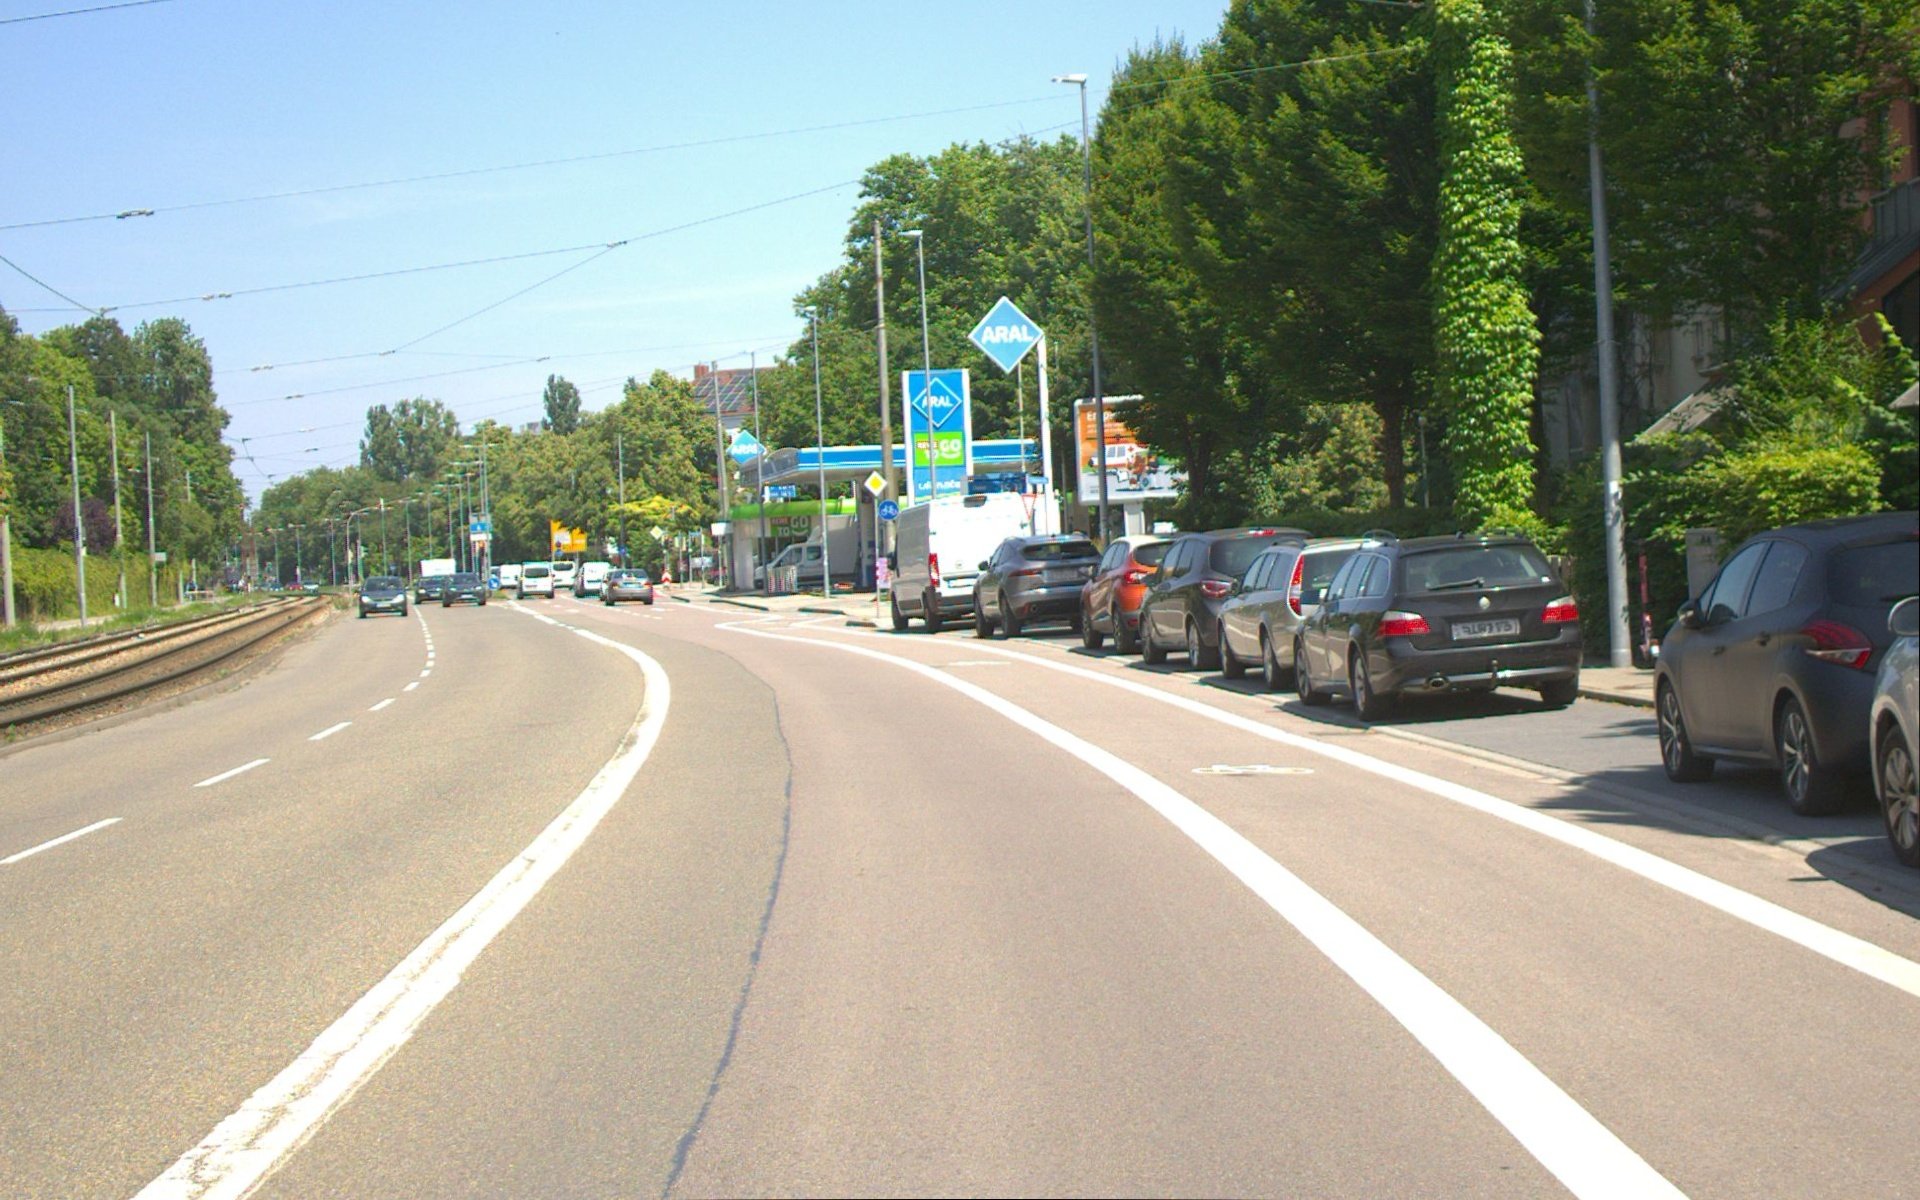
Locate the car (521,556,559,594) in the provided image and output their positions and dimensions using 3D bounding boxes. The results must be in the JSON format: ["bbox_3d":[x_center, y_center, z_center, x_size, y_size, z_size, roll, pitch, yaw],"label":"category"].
[{"bbox_3d":[-21.470,-1.298,175.581,1.755,1.868,4.325,-2,1,-9],"label":"car"}]

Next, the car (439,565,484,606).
[{"bbox_3d":[-21.945,-0.656,151.252,1.755,1.625,4.325,-5,1,-9],"label":"car"}]

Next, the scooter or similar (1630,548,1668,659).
[{"bbox_3d":[6.476,0.027,32.317,0.334,1.028,1.082,0,0,11],"label":"scooter or similar"}]

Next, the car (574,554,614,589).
[{"bbox_3d":[-18.854,-1.465,176.997,1.755,1.625,4.325,-5,1,-9],"label":"car"}]

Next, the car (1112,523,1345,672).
[{"bbox_3d":[3.157,-0.054,41.241,1.706,1.557,4.325,-5,1,-9],"label":"car"}]

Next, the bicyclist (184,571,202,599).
[{"bbox_3d":[-44.966,-0.865,201.544,0.681,1.568,0.795,-7,0,-2],"label":"bicyclist"}]

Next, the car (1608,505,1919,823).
[{"bbox_3d":[4.819,0.250,18.555,1.583,1.418,4.181,-5,1,-2],"label":"car"}]

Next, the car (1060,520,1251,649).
[{"bbox_3d":[2.628,-0.237,47.159,1.706,1.557,4.325,-5,1,-8],"label":"car"}]

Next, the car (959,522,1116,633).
[{"bbox_3d":[1.241,-0.386,57.146,1.755,1.625,4.325,-5,1,-9],"label":"car"}]

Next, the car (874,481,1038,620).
[{"bbox_3d":[-0.150,-0.959,67.268,2.000,2.448,6.111,-5,1,-10],"label":"car"}]

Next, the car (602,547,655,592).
[{"bbox_3d":[-13.286,-1.219,137.647,1.755,1.625,4.325,-5,1,-9],"label":"car"}]

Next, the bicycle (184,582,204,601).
[{"bbox_3d":[-44.923,-0.501,201.540,0.681,1.050,2.009,-7,1,-2],"label":"bicycle"}]

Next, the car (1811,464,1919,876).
[{"bbox_3d":[4.820,0.253,13.187,1.841,1.688,4.778,-5,1,1],"label":"car"}]

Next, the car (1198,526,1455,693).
[{"bbox_3d":[3.732,0.050,35.808,1.706,1.487,4.732,-5,1,-5],"label":"car"}]

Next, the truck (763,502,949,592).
[{"bbox_3d":[-4.575,-2.361,151.296,7.967,3.590,2.663,-2,1,-2],"label":"truck"}]

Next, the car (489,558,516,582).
[{"bbox_3d":[-34.075,-2.237,255.941,1.755,1.625,4.325,-5,1,-9],"label":"car"}]

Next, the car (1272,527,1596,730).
[{"bbox_3d":[4.028,0.176,30.054,1.706,1.487,5.039,-5,1,-4],"label":"car"}]

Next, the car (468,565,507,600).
[{"bbox_3d":[-23.760,-0.892,172.918,1.755,1.625,4.325,-5,1,-7],"label":"car"}]

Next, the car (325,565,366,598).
[{"bbox_3d":[-33.408,-0.993,186.761,1.755,1.625,4.325,-5,1,-14],"label":"car"}]

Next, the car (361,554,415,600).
[{"bbox_3d":[-20.727,-0.853,124.659,1.755,1.504,4.325,-5,1,-9],"label":"car"}]

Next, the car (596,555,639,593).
[{"bbox_3d":[-16.068,-1.229,161.020,1.755,1.625,4.325,-5,1,-7],"label":"car"}]

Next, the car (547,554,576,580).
[{"bbox_3d":[-27.686,-2.301,238.818,1.755,1.625,4.325,-5,1,-9],"label":"car"}]

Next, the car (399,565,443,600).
[{"bbox_3d":[-27.938,-0.910,178.116,1.755,1.625,4.325,-5,1,-14],"label":"car"}]
